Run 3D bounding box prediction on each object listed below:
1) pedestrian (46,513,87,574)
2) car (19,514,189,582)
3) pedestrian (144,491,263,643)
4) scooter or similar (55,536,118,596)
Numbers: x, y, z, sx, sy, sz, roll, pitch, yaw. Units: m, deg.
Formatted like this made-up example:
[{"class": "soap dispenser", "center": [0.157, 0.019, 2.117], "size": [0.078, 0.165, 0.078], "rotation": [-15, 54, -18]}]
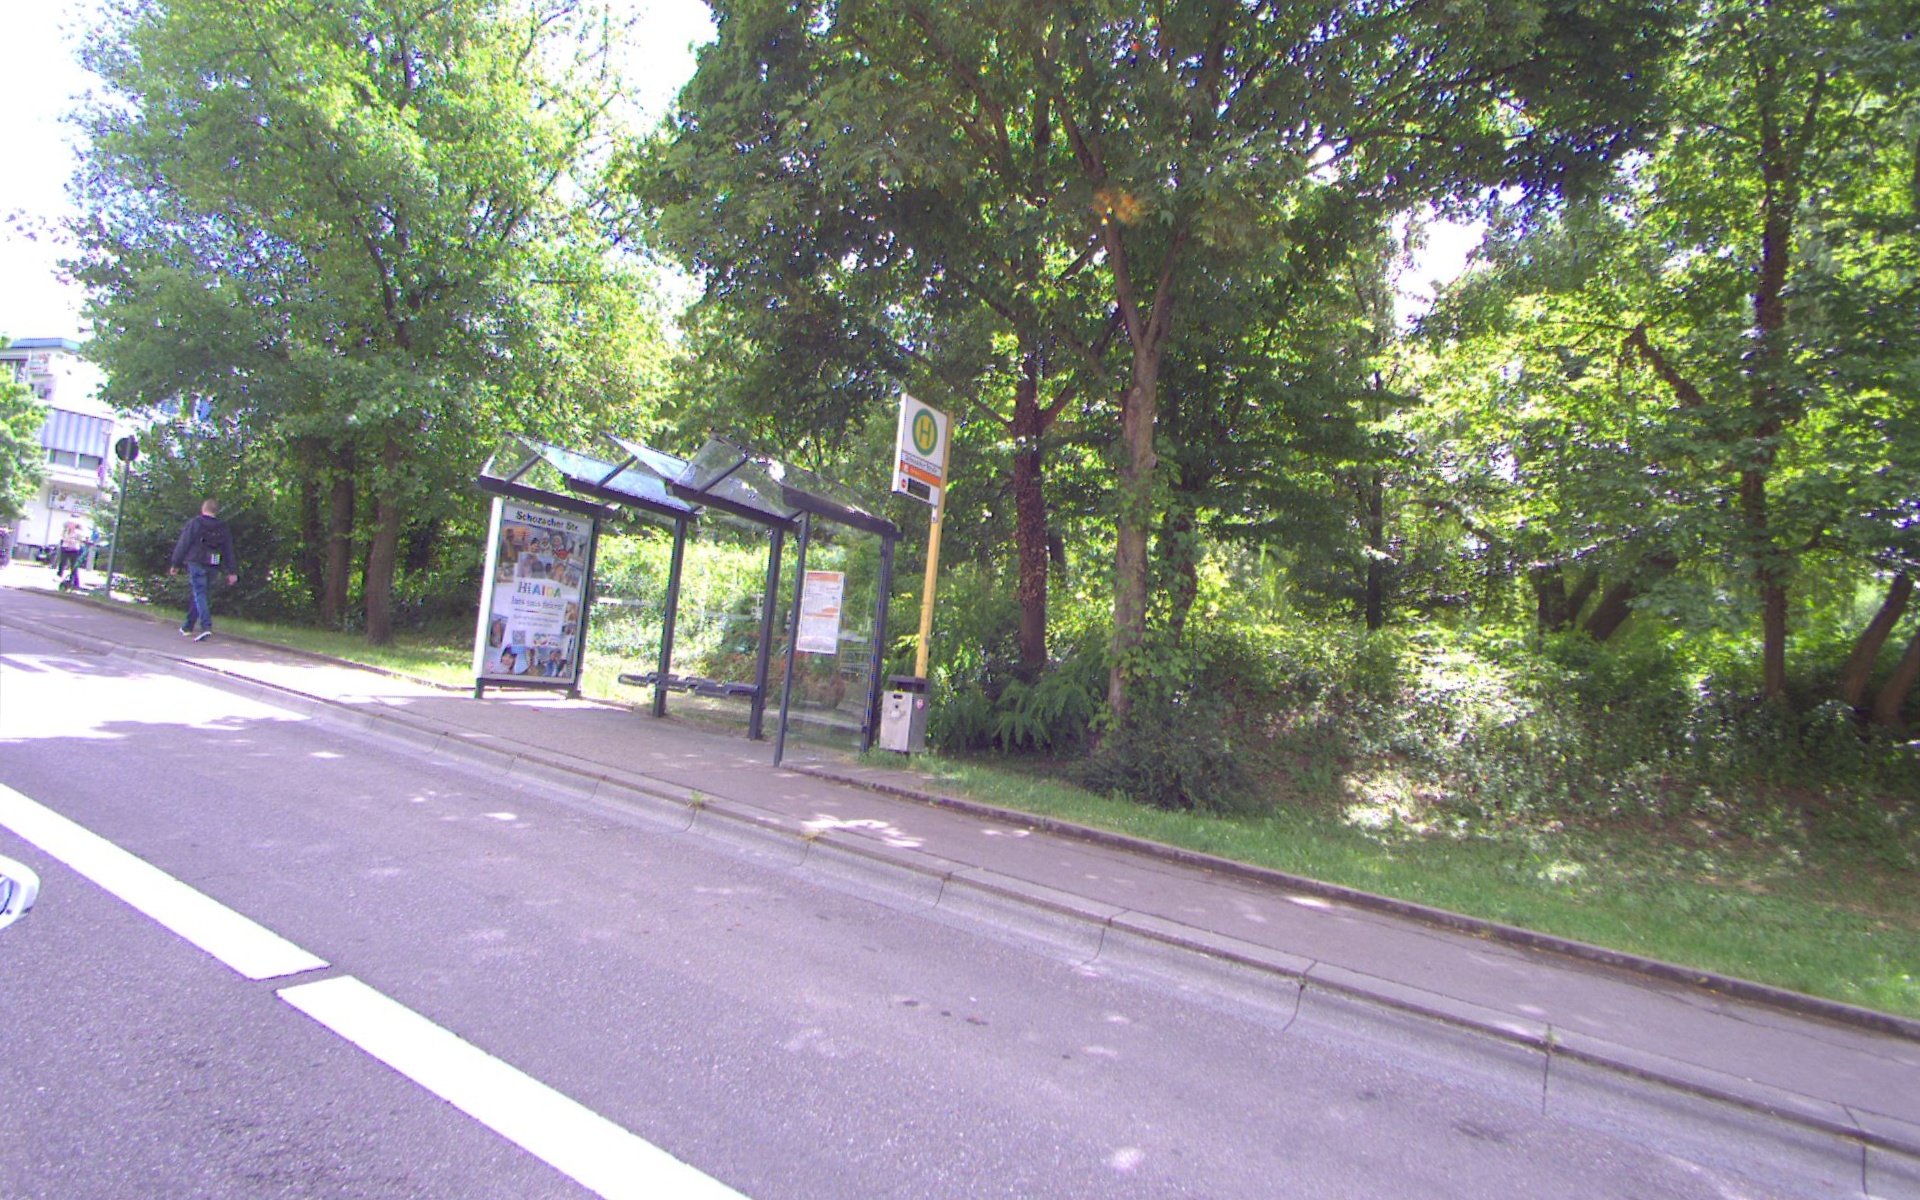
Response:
[{"class": "pedestrian", "center": [-26.807, -1.677, 30.186], "size": [0.652, 1.733, 0.458], "rotation": [8, -1, -29]}, {"class": "car", "center": [-33.404, -1.976, 39.428], "size": [1.964, 2.038, 4.549], "rotation": [6, -1, 24]}, {"class": "pedestrian", "center": [-10.246, -0.439, 13.634], "size": [0.996, 1.898, 0.797], "rotation": [6, -1, 32]}, {"class": "scooter or similar", "center": [-20.198, -0.786, 23.270], "size": [0.447, 1.244, 0.892], "rotation": [6, -2, 28]}]
